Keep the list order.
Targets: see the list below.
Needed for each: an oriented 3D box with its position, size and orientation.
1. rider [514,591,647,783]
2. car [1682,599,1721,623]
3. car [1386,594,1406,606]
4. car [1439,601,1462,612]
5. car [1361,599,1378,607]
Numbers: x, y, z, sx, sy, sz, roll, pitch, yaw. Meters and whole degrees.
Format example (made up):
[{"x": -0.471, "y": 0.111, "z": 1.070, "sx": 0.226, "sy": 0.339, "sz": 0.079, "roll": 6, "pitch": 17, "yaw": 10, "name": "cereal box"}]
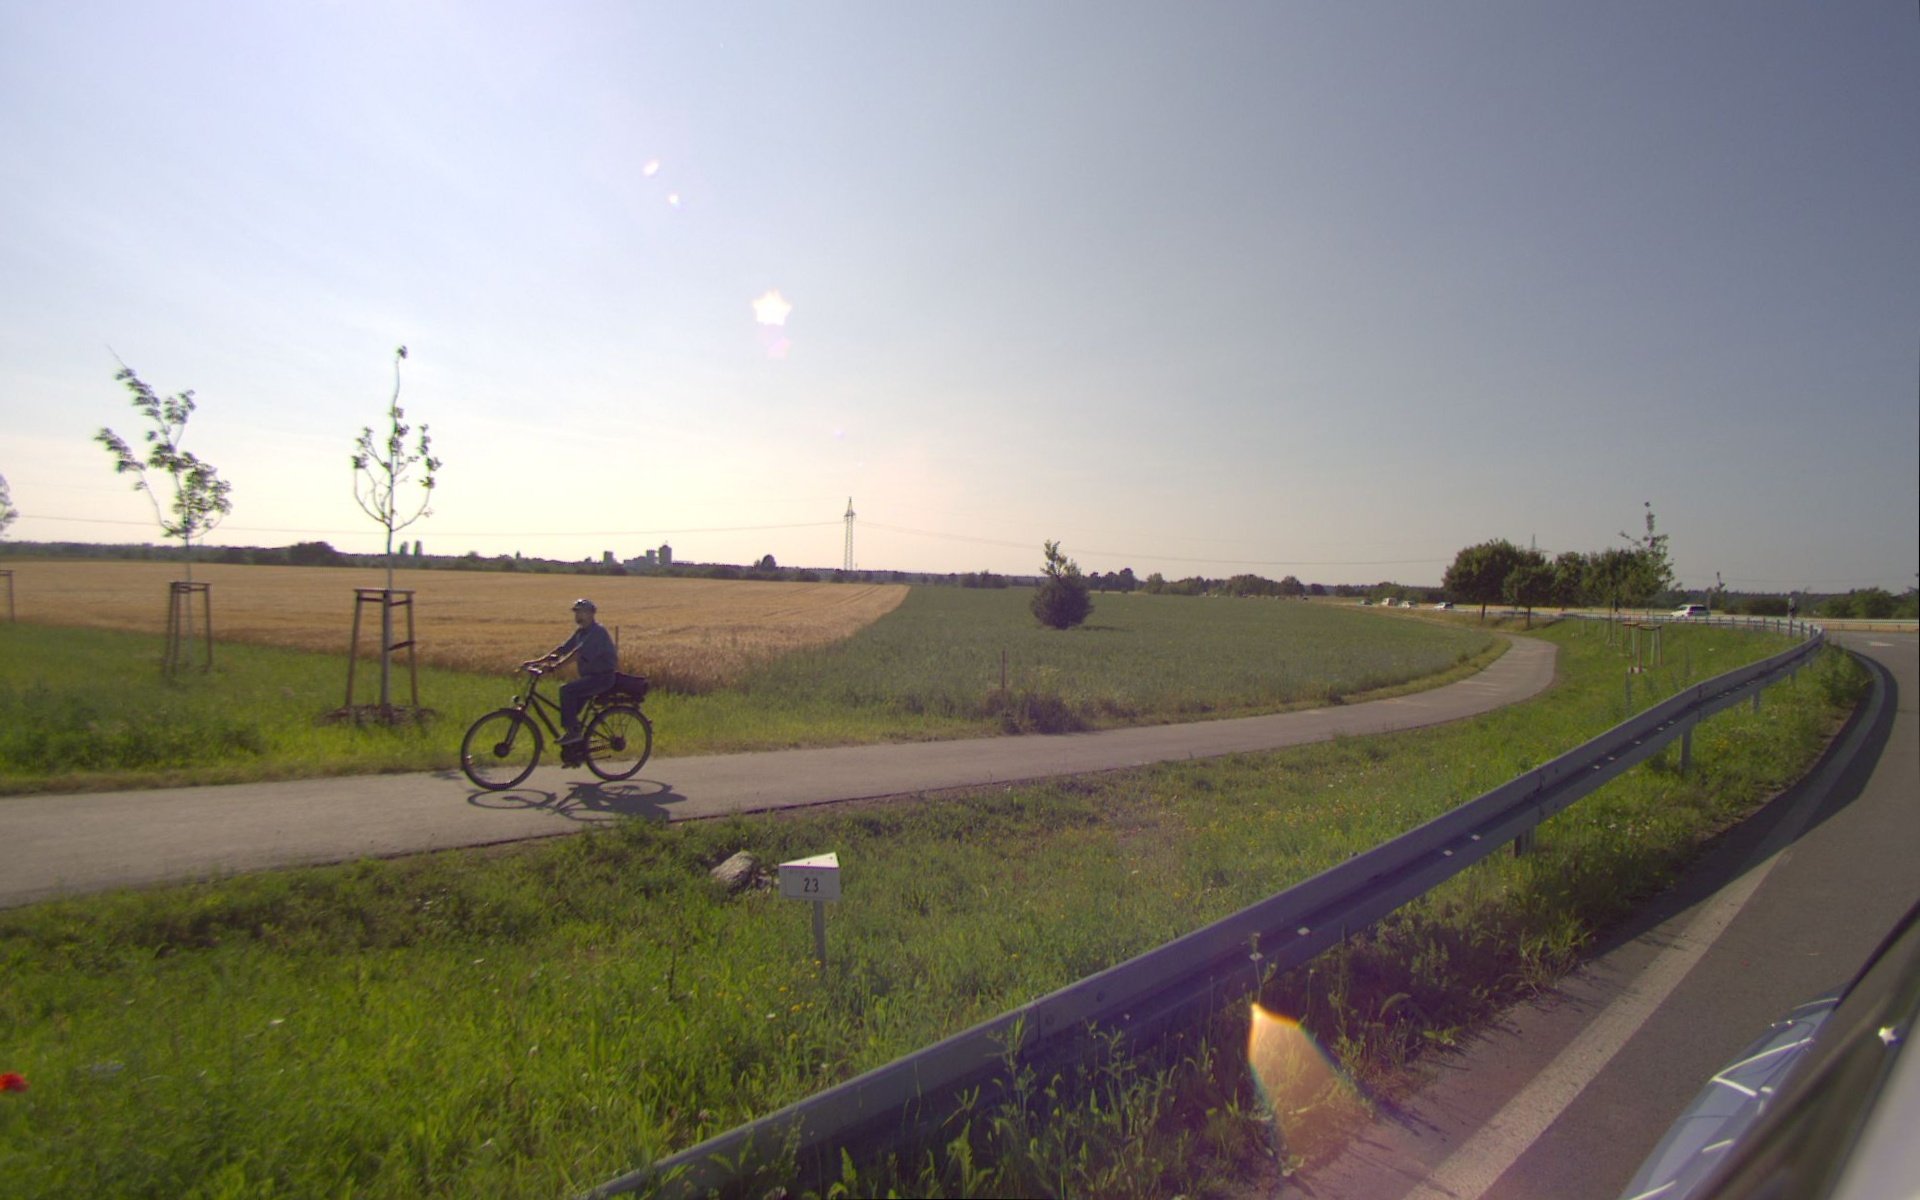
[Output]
[{"x": -3.512, "y": 0.766, "z": 9.445, "sx": 0.806, "sy": 1.663, "sz": 0.991, "roll": 2, "pitch": 0, "yaw": 1, "name": "rider"}, {"x": 62.730, "y": 0.895, "z": 85.685, "sx": 1.679, "sy": 1.693, "sz": 4.824, "roll": 0, "pitch": 4, "yaw": 25, "name": "car"}, {"x": 80.835, "y": 0.060, "z": 187.643, "sx": 2.086, "sy": 2.040, "sz": 5.138, "roll": 1, "pitch": -2, "yaw": 8, "name": "car"}, {"x": 76.495, "y": 1.068, "z": 157.993, "sx": 2.089, "sy": 1.512, "sz": 5.131, "roll": 0, "pitch": -2, "yaw": 12, "name": "car"}, {"x": 82.468, "y": 0.575, "z": 203.887, "sx": 1.767, "sy": 1.467, "sz": 4.700, "roll": 1, "pitch": -2, "yaw": 2, "name": "car"}]
